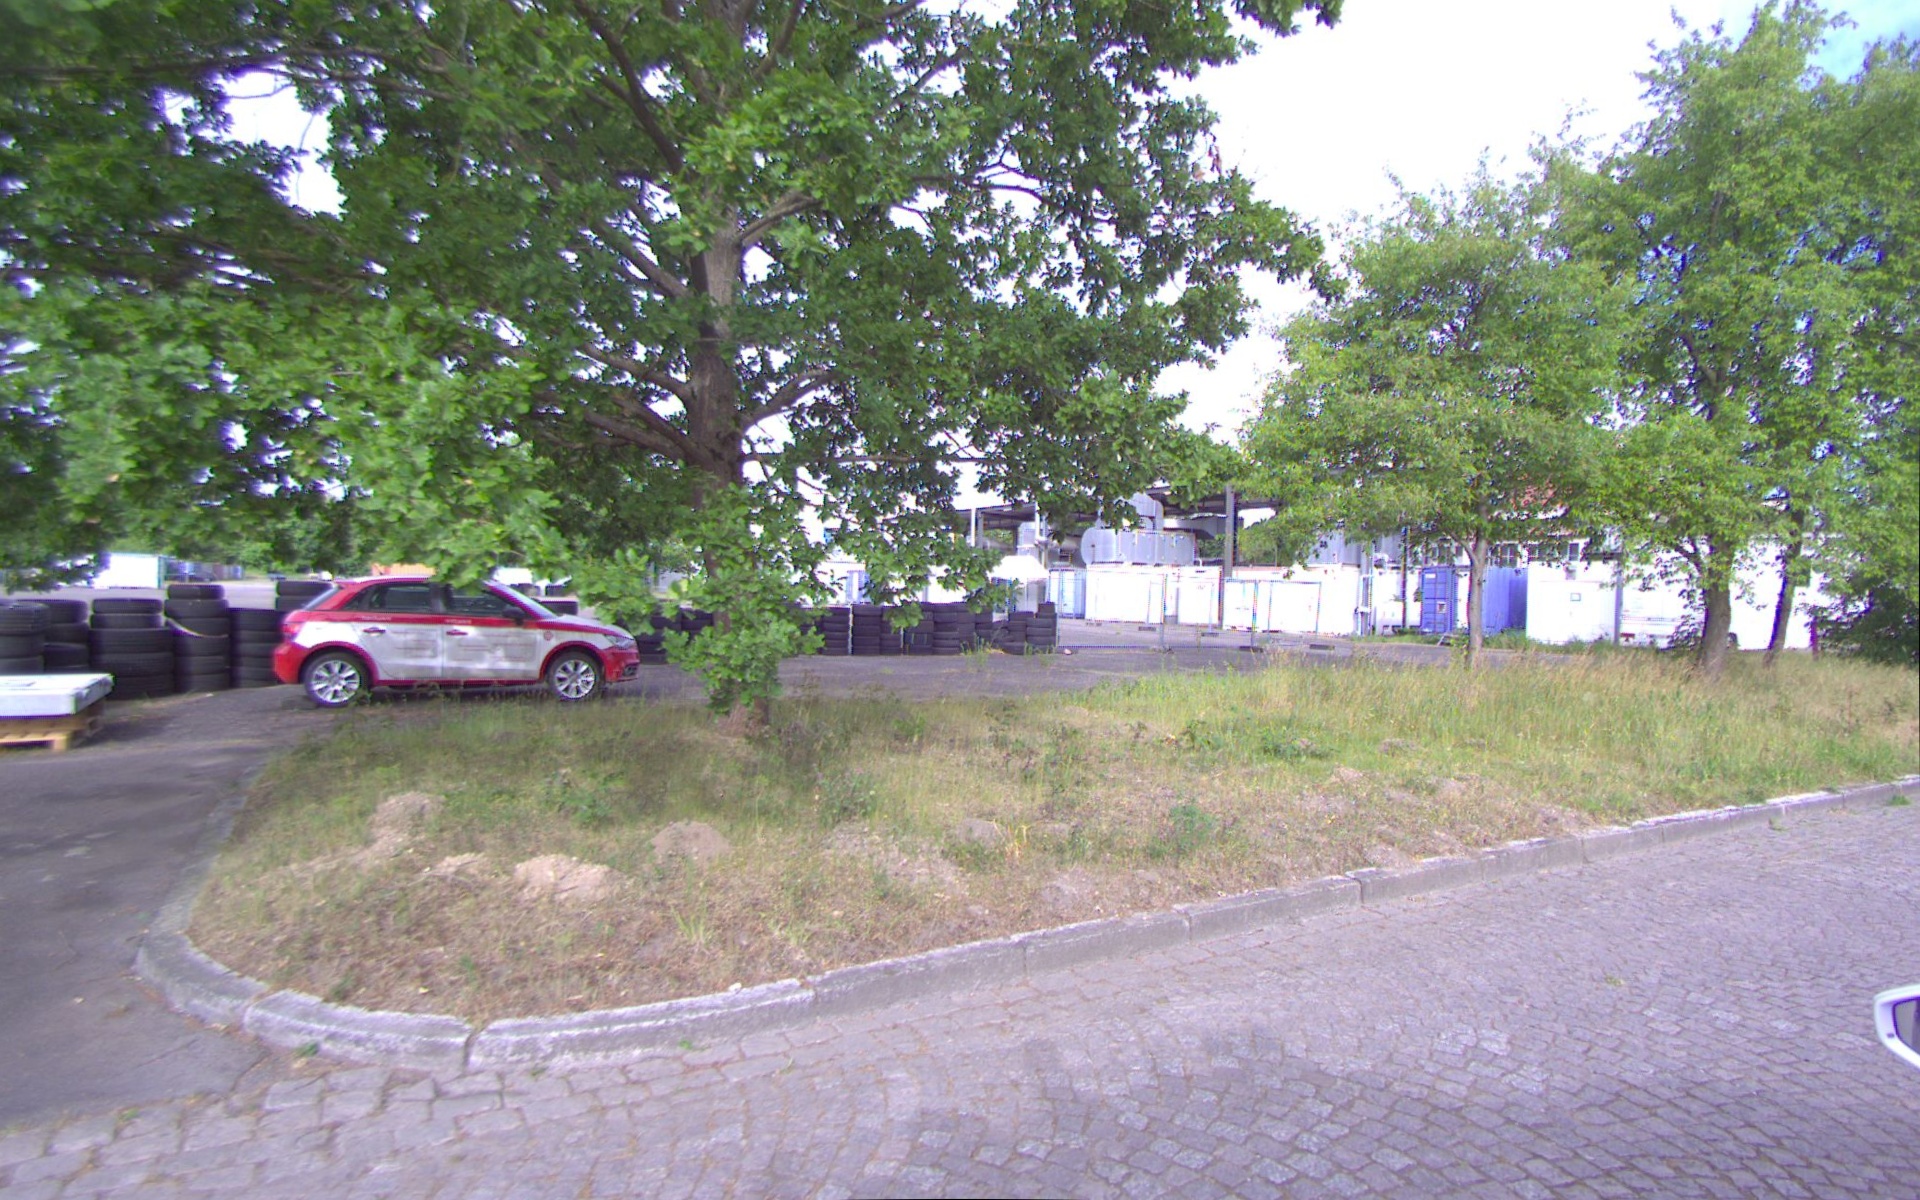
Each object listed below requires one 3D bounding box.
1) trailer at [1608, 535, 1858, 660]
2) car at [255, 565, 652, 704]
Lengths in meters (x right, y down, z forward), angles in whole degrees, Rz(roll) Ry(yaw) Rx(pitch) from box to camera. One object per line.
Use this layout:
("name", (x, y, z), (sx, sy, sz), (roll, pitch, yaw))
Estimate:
("trailer", (25.517, 0.010, 32.949), (10.052, 3.646, 2.614), (1, 1, -29))
("car", (-5.906, 0.377, 12.121), (4.009, 1.453, 1.620), (1, 1, -25))
